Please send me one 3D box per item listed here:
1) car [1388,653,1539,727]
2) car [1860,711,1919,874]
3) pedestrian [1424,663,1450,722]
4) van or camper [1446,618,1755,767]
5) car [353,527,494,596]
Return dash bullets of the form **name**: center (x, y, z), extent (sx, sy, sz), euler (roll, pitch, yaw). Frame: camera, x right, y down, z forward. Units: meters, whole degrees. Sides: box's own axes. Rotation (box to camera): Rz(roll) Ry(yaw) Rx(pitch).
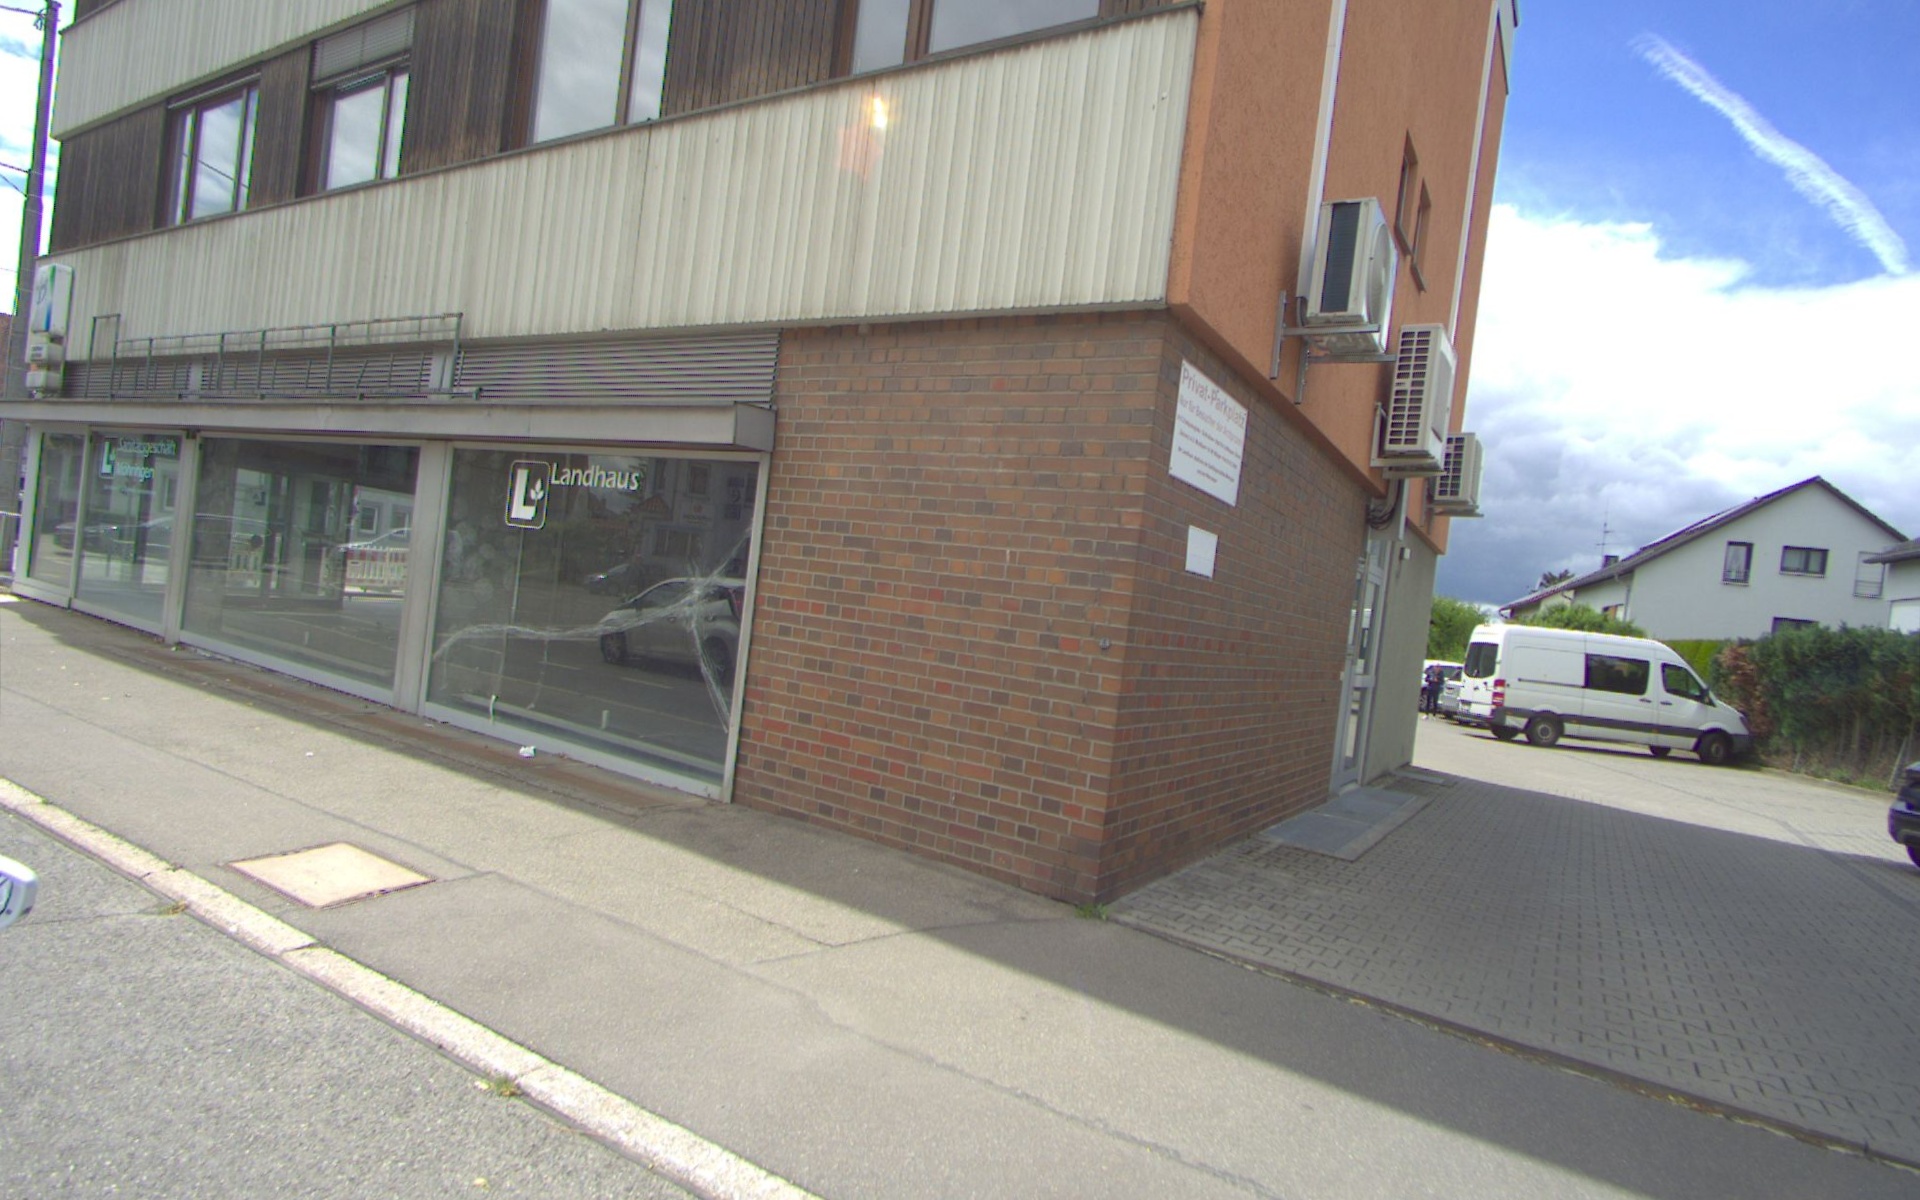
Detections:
- **car**: center (16.130, 2.874, 32.453), extent (3.924, 1.792, 1.827), euler (7, -2, 16)
- **car**: center (11.401, 2.153, 9.607), extent (3.725, 1.555, 1.788), euler (7, 0, 5)
- **pedestrian**: center (13.784, 2.678, 29.091), extent (0.434, 1.639, 0.529), euler (7, -1, 17)
- **van or camper**: center (14.416, 2.018, 22.938), extent (5.409, 2.574, 2.059), euler (7, 0, 3)
- **car**: center (-19.351, -1.366, 36.377), extent (3.976, 1.858, 1.976), euler (10, -3, -43)
